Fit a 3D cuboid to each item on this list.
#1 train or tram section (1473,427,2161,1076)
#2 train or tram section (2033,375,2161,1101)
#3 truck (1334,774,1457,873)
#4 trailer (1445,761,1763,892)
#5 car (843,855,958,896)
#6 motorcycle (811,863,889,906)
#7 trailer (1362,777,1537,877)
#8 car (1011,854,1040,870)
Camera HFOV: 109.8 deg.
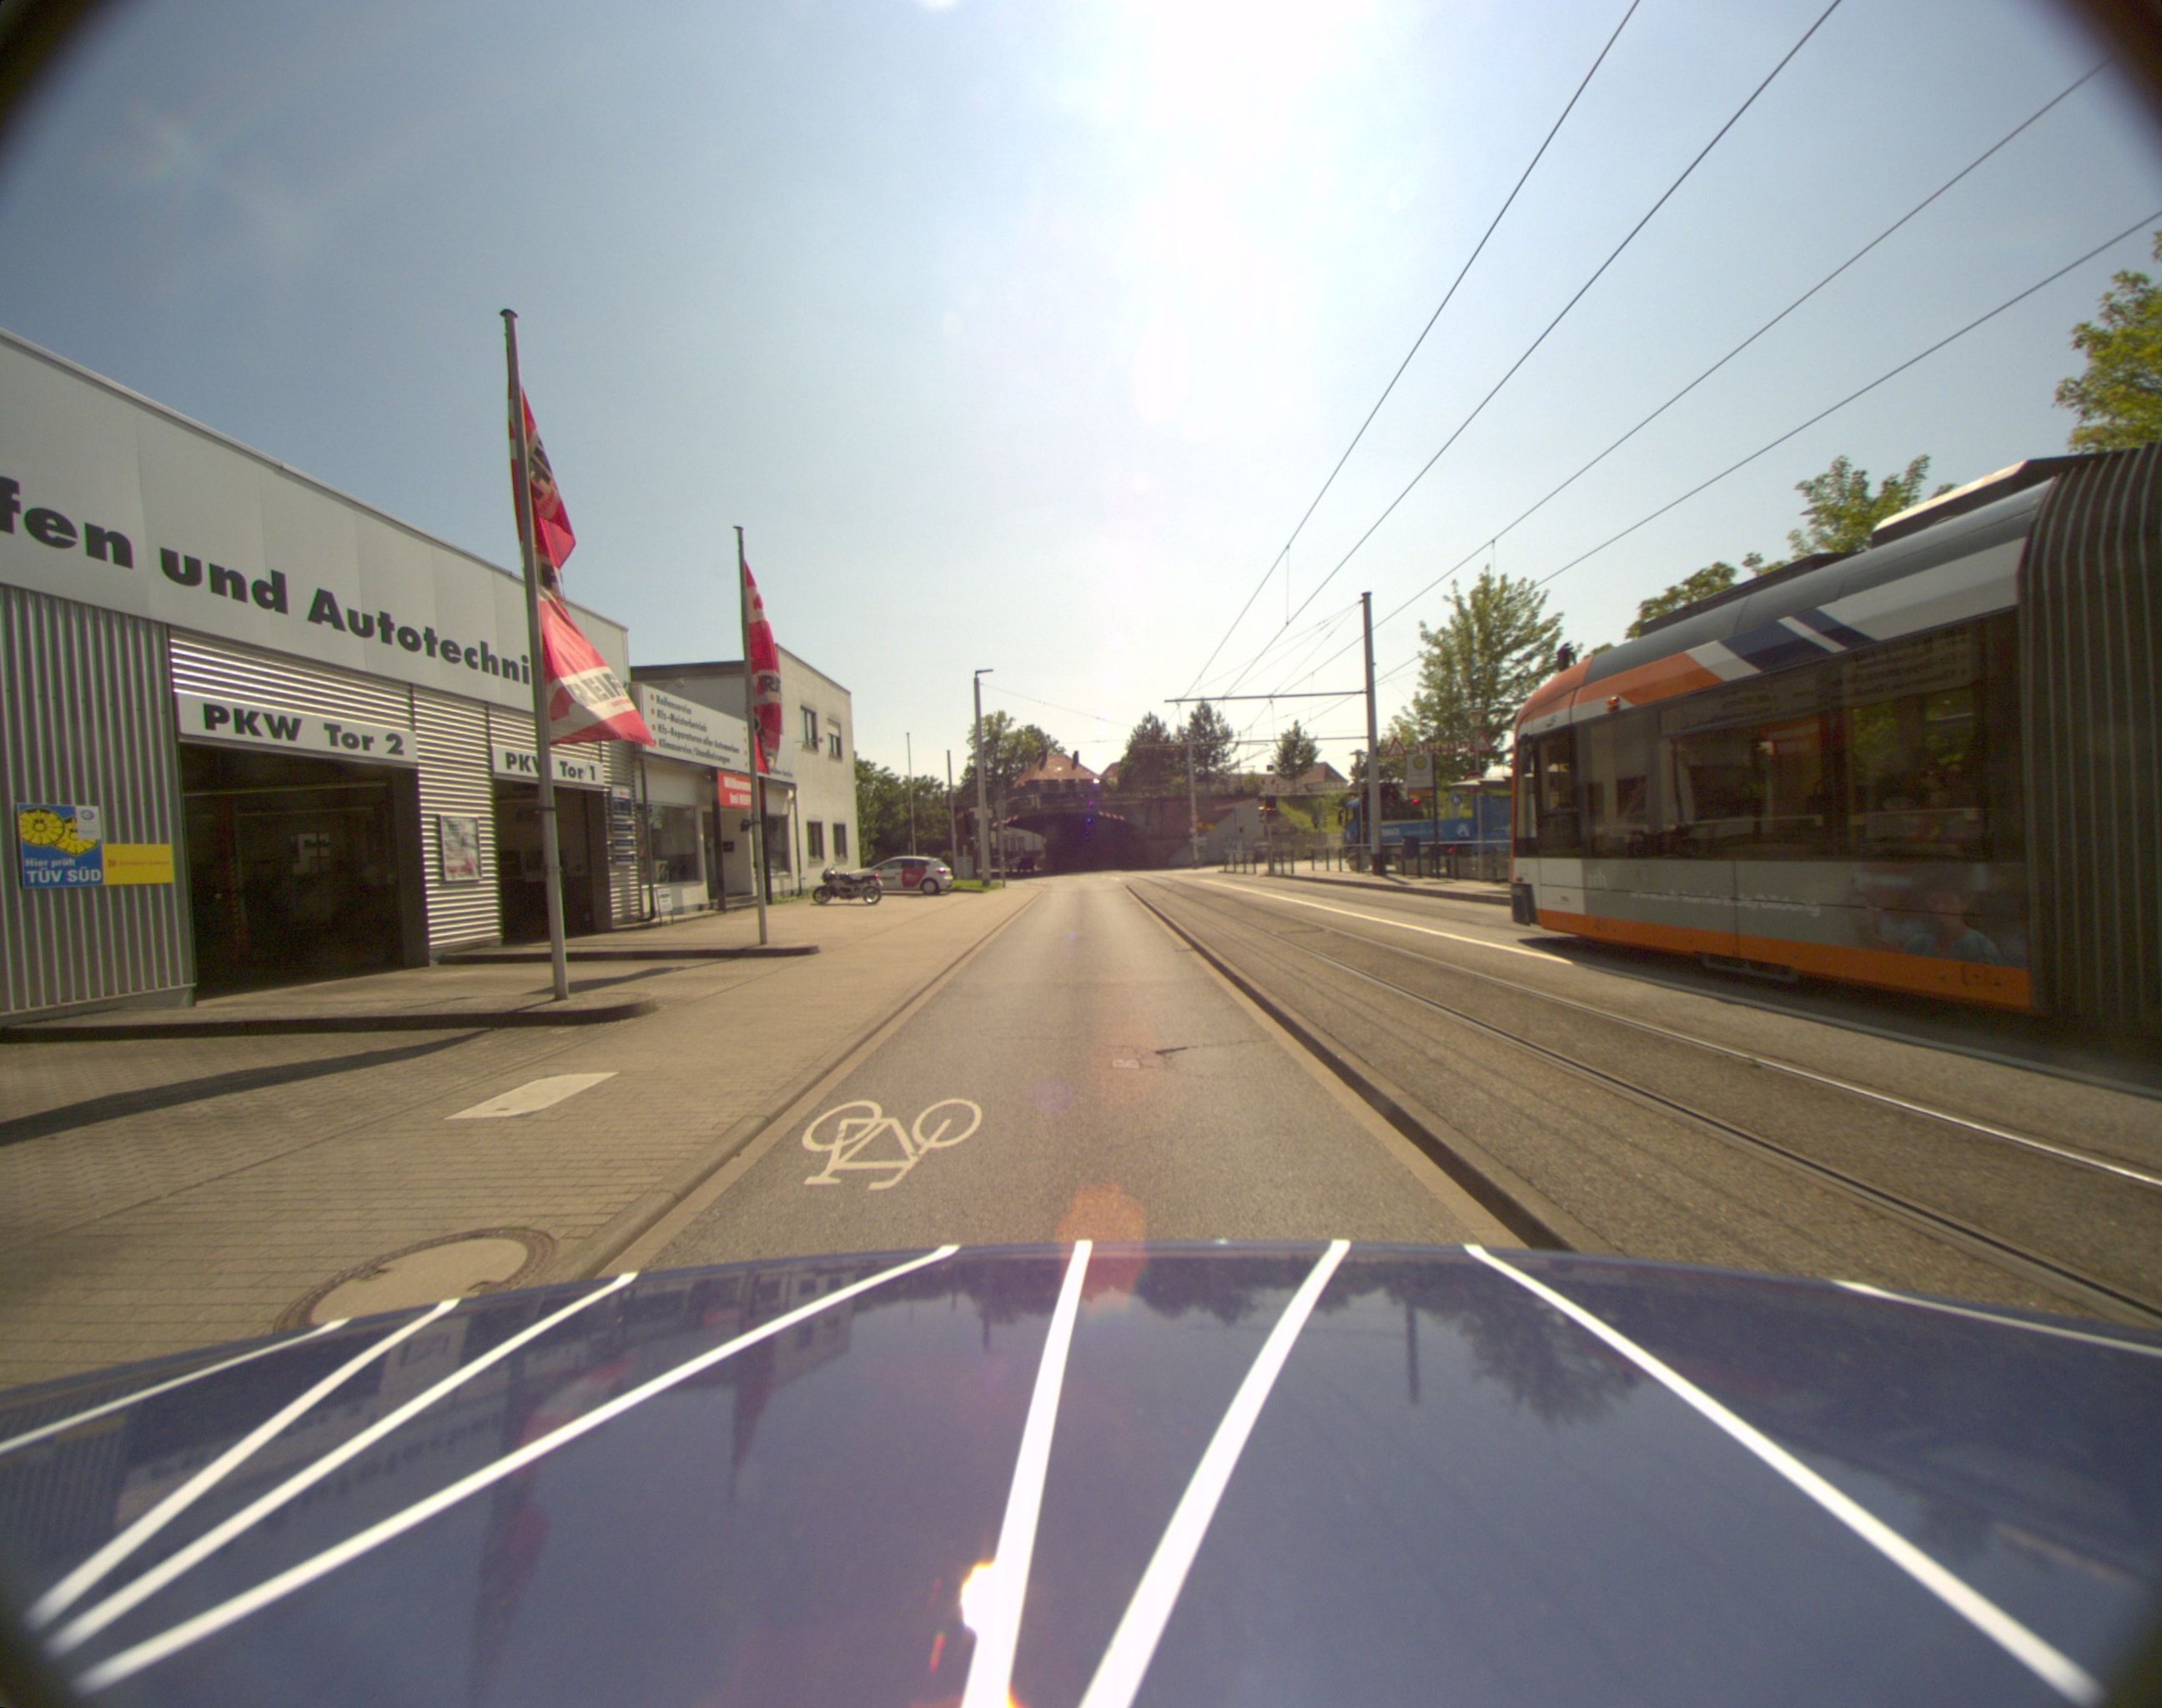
[{"bbox_3d":[6.452,-0.598,7.024,2.617,3.512,5.742,-2,0,0],"label":"train or tram section"},{"bbox_3d":[6.416,-0.564,1.137,2.617,3.427,5.843,-2,0,0],"label":"train or tram section"},{"bbox_3d":[12.591,-1.132,30.901,2.750,3.587,5.039,-2,0,0],"label":"truck"},{"bbox_3d":[12.707,-0.583,19.603,2.804,2.613,7.599,-2,0,-1],"label":"trailer"},{"bbox_3d":[-6.891,0.819,29.394,3.997,1.454,1.889,1,1,-1],"label":"car"},{"bbox_3d":[-7.217,0.940,23.800,2.189,1.301,0.731,0,1,-1],"label":"motorcycle"},{"bbox_3d":[12.620,-0.840,26.846,2.750,2.960,6.897,-2,0,0],"label":"trailer"},{"bbox_3d":[-6.010,0.864,81.757,1.824,1.594,4.300,-4,0,-22],"label":"car"}]
